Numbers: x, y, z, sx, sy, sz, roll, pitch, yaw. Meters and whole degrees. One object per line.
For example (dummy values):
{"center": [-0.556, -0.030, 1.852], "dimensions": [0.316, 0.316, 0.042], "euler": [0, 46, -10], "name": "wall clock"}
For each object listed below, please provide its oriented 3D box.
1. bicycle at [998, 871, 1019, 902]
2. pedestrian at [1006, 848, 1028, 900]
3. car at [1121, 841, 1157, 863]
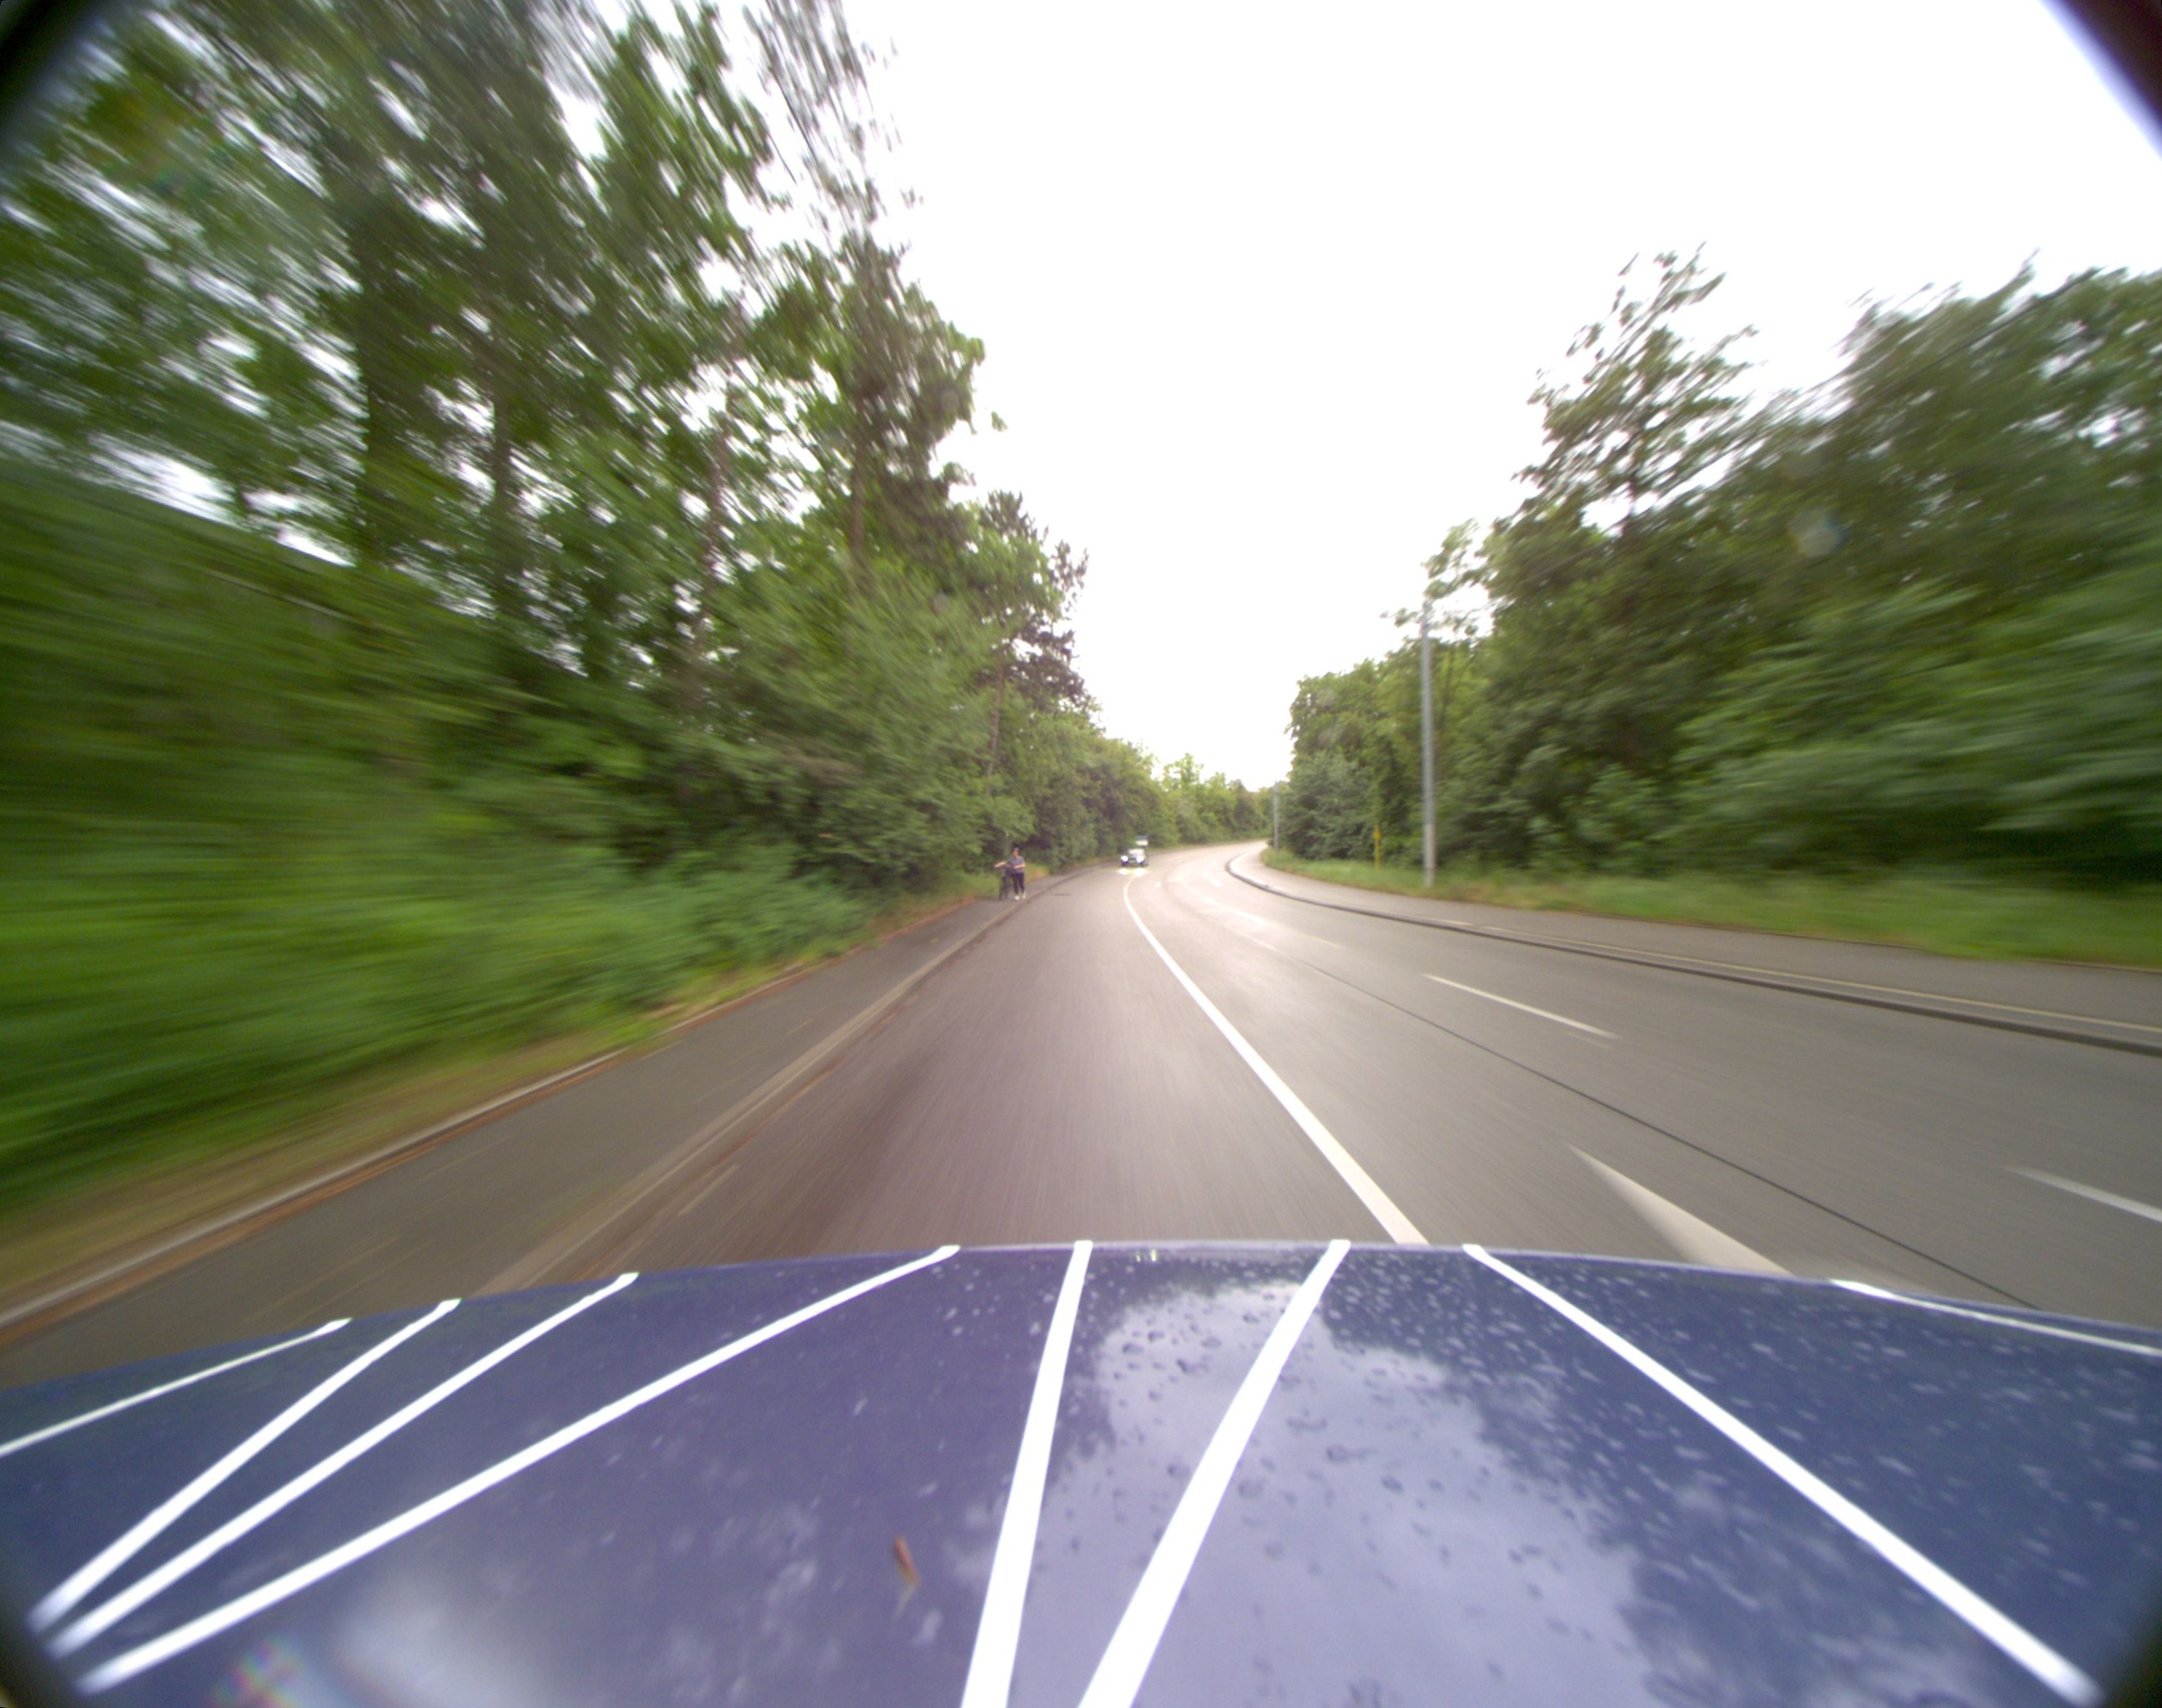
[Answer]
{"center": [-2.286, 1.011, 23.977], "dimensions": [0.356, 0.844, 1.743], "euler": [3, 2, 4], "name": "bicycle"}
{"center": [-1.981, 0.610, 23.624], "dimensions": [0.565, 1.569, 0.769], "euler": [1, 4, 4], "name": "pedestrian"}
{"center": [4.671, -0.180, 60.435], "dimensions": [1.828, 1.512, 4.005], "euler": [5, 2, 18], "name": "car"}
